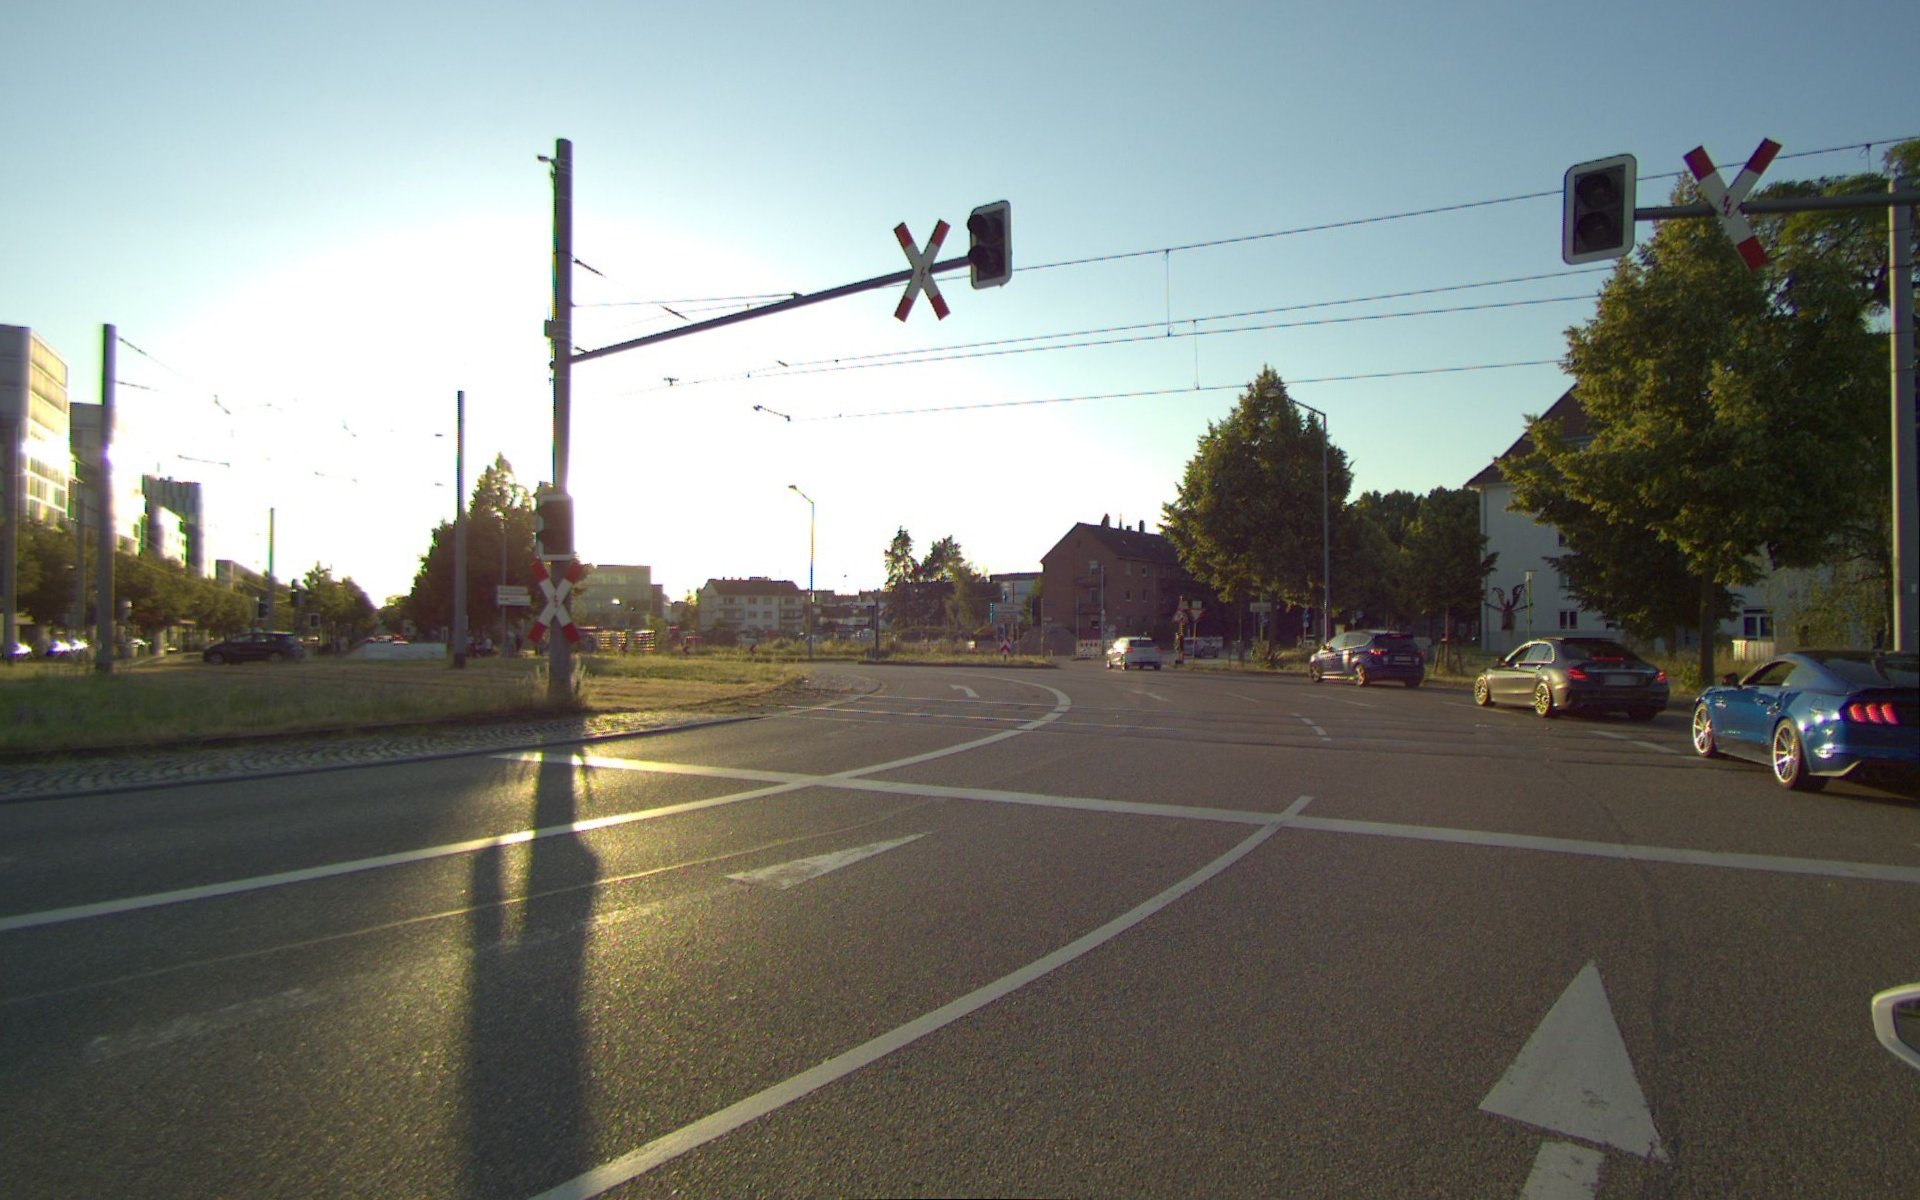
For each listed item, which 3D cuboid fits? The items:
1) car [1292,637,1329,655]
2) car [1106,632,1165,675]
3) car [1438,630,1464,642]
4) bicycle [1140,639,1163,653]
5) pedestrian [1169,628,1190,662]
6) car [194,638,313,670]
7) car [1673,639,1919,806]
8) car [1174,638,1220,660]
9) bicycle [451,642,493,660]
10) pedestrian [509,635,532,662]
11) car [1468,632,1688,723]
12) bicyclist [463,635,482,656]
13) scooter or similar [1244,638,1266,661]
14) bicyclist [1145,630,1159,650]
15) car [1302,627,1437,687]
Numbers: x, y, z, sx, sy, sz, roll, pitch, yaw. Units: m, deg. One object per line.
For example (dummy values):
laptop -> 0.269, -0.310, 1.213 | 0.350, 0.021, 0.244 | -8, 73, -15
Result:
car -> 30.256, 3.938, 86.674 | 1.854, 1.420, 3.898 | -1, -2, 39
car -> 7.883, 2.478, 45.373 | 1.845, 1.418, 3.921 | 5, -8, -1
car -> 58.306, 4.289, 119.258 | 1.854, 1.420, 3.898 | -1, -2, 39
bicycle -> 16.054, 3.829, 84.179 | 0.744, 1.182, 2.397 | -2, -3, 41
pedestrian -> 11.157, 2.299, 51.130 | 0.870, 1.708, 0.845 | -1, -2, 26
car -> -33.882, 2.579, 48.270 | 4.238, 1.451, 1.944 | 0, -1, -4
car -> 9.350, 1.134, 10.583 | 1.919, 1.360, 4.670 | 0, -1, 21
car -> 16.576, 3.373, 70.103 | 1.851, 1.420, 3.903 | -1, -2, 35
bicycle -> -32.791, 3.439, 67.534 | 2.368, 1.182, 0.753 | 0, -2, -13
pedestrian -> -29.817, 3.286, 68.145 | 1.140, 1.851, 0.978 | 0, -2, -9
car -> 11.444, 1.360, 19.011 | 1.918, 1.446, 4.433 | 1, -1, 8
bicyclist -> -32.775, 3.061, 67.529 | 0.961, 1.412, 0.753 | 0, -2, -13
scooter or similar -> 16.834, 2.816, 57.277 | 1.104, 1.255, 0.441 | 1, -2, -12
bicyclist -> 16.070, 3.352, 84.175 | 0.744, 1.633, 0.973 | -2, -2, 42
car -> 11.944, 1.629, 29.626 | 1.922, 1.623, 4.073 | 1, -2, -8
